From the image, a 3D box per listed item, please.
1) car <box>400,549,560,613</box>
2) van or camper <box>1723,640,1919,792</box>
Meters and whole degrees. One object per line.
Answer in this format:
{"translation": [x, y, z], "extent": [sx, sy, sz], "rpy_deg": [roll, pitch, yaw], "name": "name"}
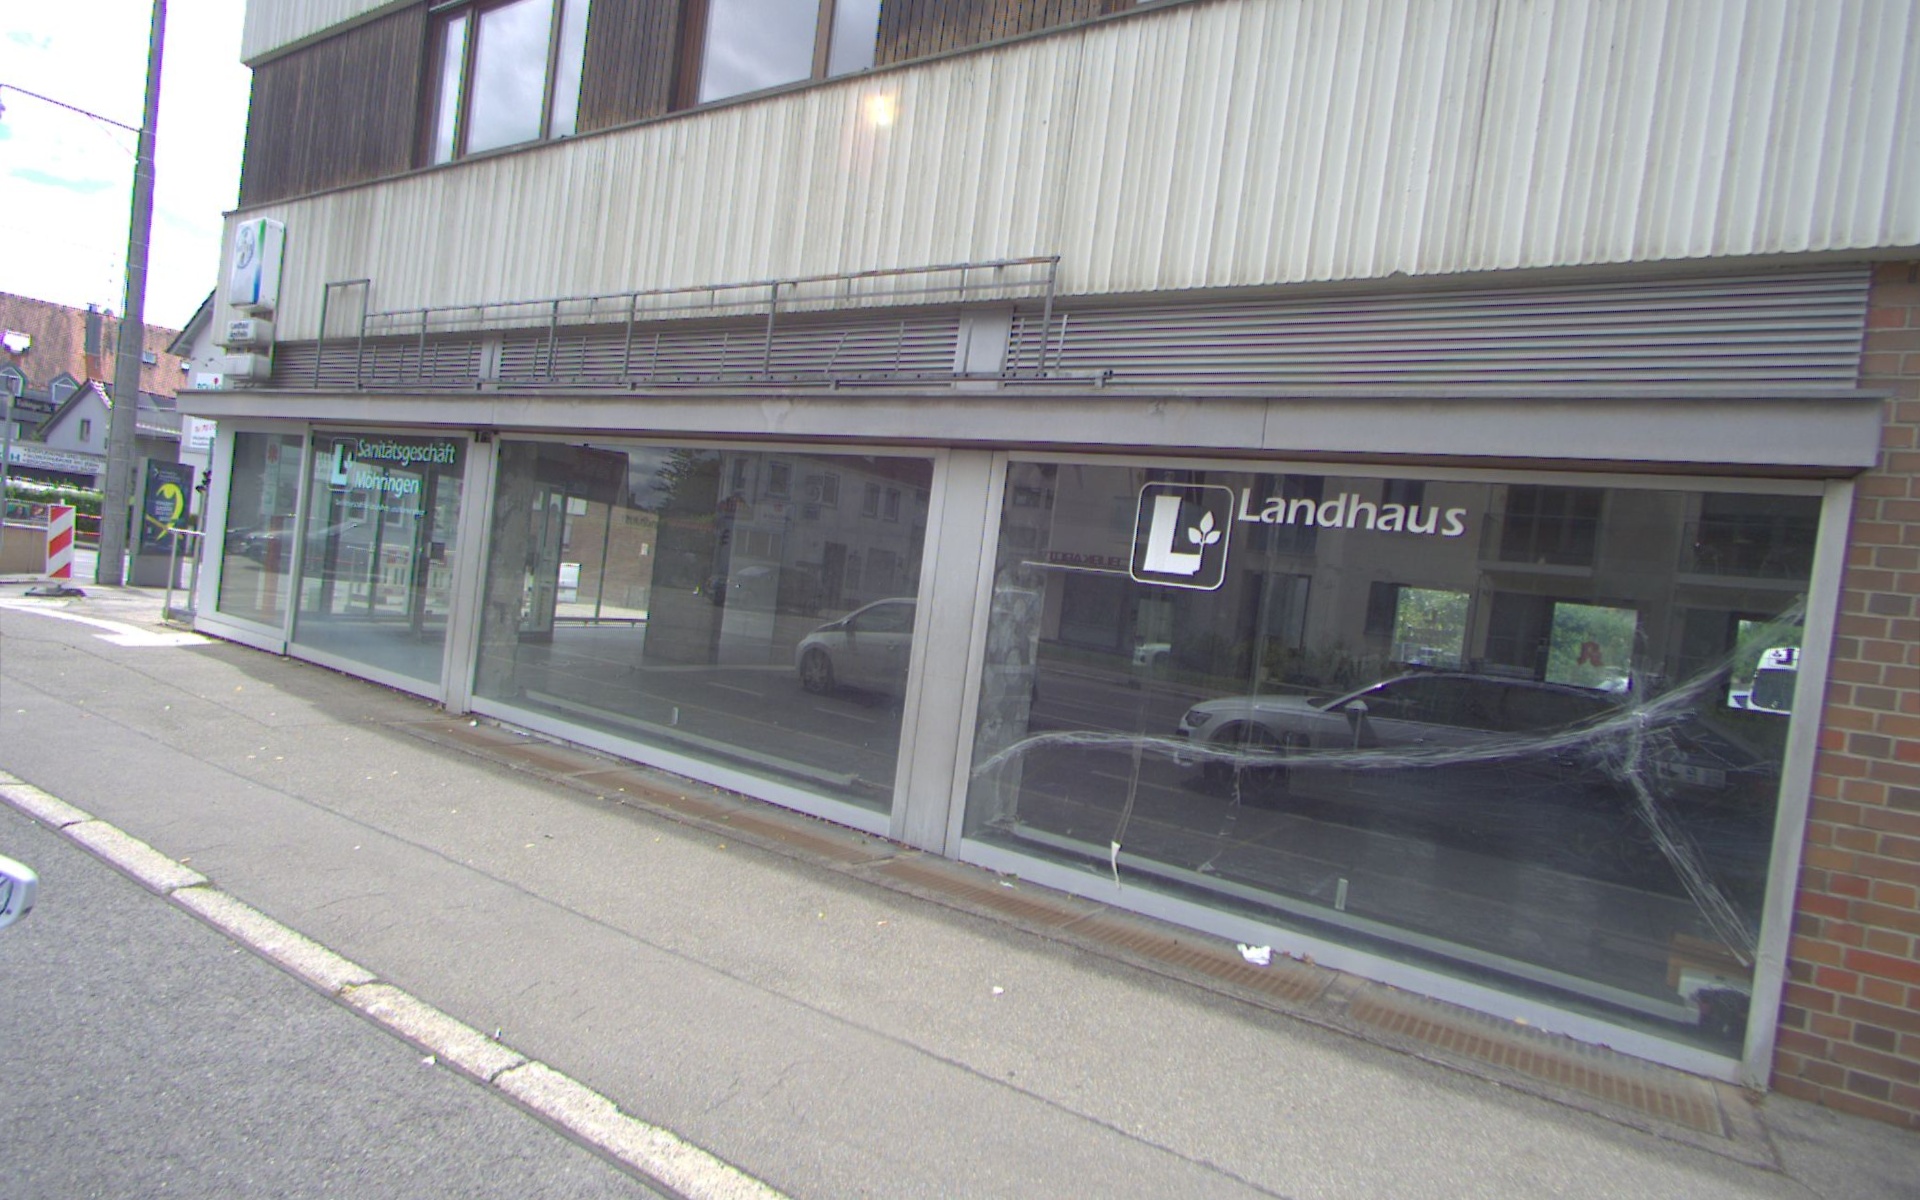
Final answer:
{"translation": [-16.979, -0.615, 35.882], "extent": [1.964, 1.596, 4.913], "rpy_deg": [7, -1, 24], "name": "car"}
{"translation": [18.986, 2.452, 20.173], "extent": [5.409, 2.574, 2.058], "rpy_deg": [7, 1, 4], "name": "van or camper"}
